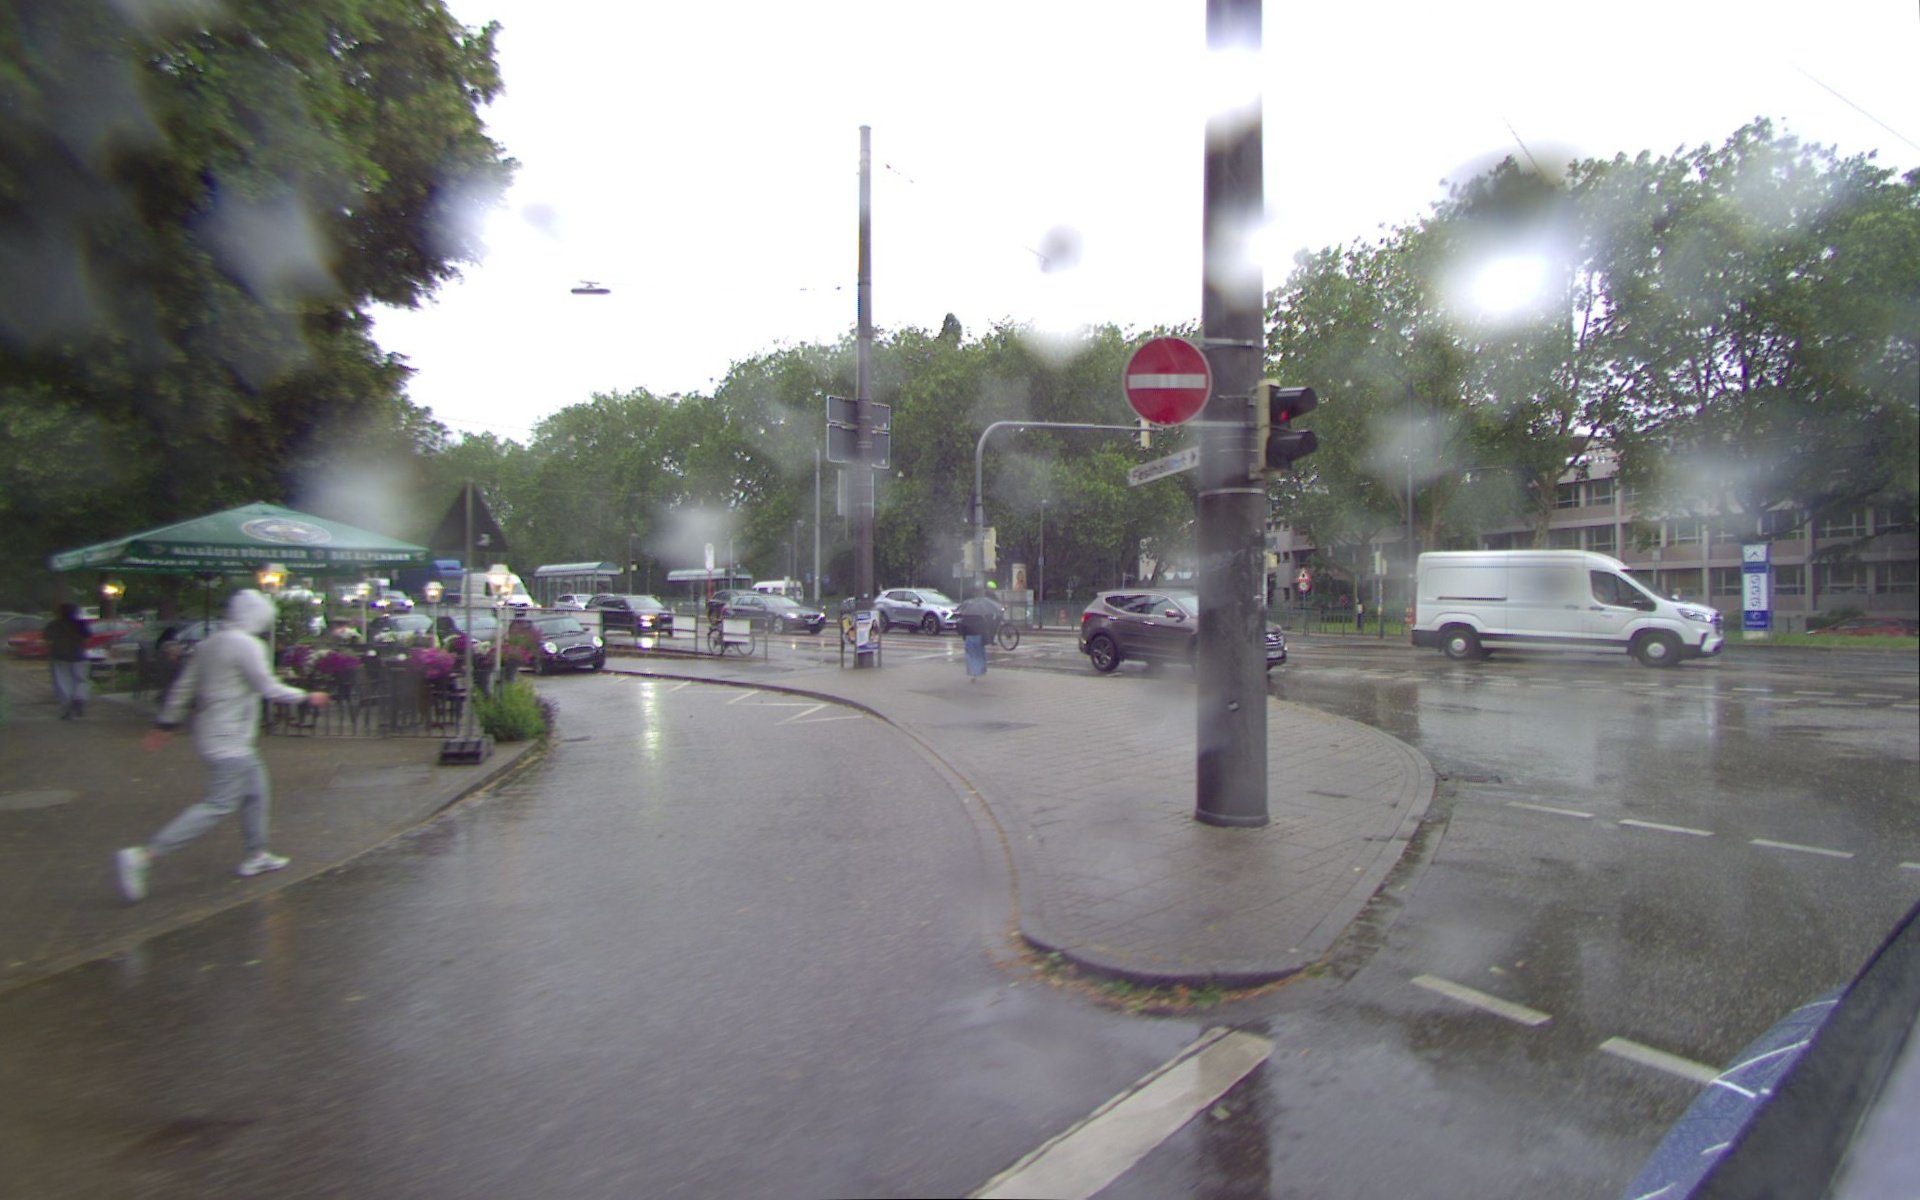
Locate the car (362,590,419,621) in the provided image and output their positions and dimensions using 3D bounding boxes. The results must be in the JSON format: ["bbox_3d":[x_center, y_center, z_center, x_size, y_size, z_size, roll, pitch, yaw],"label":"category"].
[{"bbox_3d":[-36.022,0.323,64.014,3.985,1.780,1.970,1,2,43],"label":"car"}]

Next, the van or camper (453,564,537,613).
[{"bbox_3d":[-25.613,-0.588,55.603,5.690,2.530,2.113,-1,0,42],"label":"van or camper"}]

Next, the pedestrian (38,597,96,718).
[{"bbox_3d":[-12.589,0.797,14.273,0.387,1.666,0.541,-1,-3,45],"label":"pedestrian"}]

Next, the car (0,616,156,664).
[{"bbox_3d":[-31.127,1.349,35.693,1.682,1.488,4.272,-1,0,11],"label":"car"}]

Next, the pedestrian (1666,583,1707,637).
[{"bbox_3d":[21.981,0.305,30.625,0.705,1.631,0.734,-1,-1,5],"label":"pedestrian"}]

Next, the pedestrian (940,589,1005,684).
[{"bbox_3d":[0.246,0.651,18.642,1.086,1.688,0.996,-1,0,5],"label":"pedestrian"}]

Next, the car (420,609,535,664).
[{"bbox_3d":[-14.447,1.039,30.206,4.201,1.482,1.724,-1,0,44],"label":"car"}]

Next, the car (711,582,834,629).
[{"bbox_3d":[-7.060,0.228,37.782,1.917,1.613,5.321,1,-1,-44],"label":"car"}]

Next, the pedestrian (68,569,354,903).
[{"bbox_3d":[-4.507,0.755,6.168,0.561,1.796,1.193,3,-1,28],"label":"pedestrian"}]

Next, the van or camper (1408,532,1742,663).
[{"bbox_3d":[13.291,-0.039,22.203,5.947,2.502,2.149,-1,0,43],"label":"van or camper"}]

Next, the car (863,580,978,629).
[{"bbox_3d":[-1.504,0.156,36.942,1.819,1.655,4.236,-1,0,-44],"label":"car"}]

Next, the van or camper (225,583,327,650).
[{"bbox_3d":[-29.138,0.680,43.026,6.074,2.624,2.298,-1,0,43],"label":"van or camper"}]

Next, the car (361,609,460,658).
[{"bbox_3d":[-18.262,1.079,33.561,4.202,1.488,1.705,-1,0,44],"label":"car"}]

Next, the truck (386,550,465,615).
[{"bbox_3d":[-37.841,-1.151,71.485,8.324,4.331,2.381,-1,0,44],"label":"truck"}]

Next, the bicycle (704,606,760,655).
[{"bbox_3d":[-5.831,0.775,25.827,1.786,1.183,0.417,-1,1,43],"label":"bicycle"}]

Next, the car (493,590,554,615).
[{"bbox_3d":[-26.382,0.173,61.097,4.175,1.425,1.885,-1,0,43],"label":"car"}]

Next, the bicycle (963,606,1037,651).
[{"bbox_3d":[1.070,0.736,27.298,0.806,1.101,1.993,-2,2,-44],"label":"bicycle"}]

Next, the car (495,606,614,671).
[{"bbox_3d":[-10.565,0.955,26.265,1.625,1.519,3.507,-2,1,-44],"label":"car"}]

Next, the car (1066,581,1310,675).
[{"bbox_3d":[4.507,0.509,20.620,1.880,1.667,4.674,-1,0,-39],"label":"car"}]

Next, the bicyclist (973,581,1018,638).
[{"bbox_3d":[0.959,0.240,27.463,0.803,1.488,0.913,1,2,44],"label":"bicyclist"}]

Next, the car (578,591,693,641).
[{"bbox_3d":[-11.971,0.570,37.177,4.674,1.709,1.949,-1,0,42],"label":"car"}]

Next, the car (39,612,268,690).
[{"bbox_3d":[-18.292,1.092,23.217,1.829,1.527,3.993,-1,0,7],"label":"car"}]
